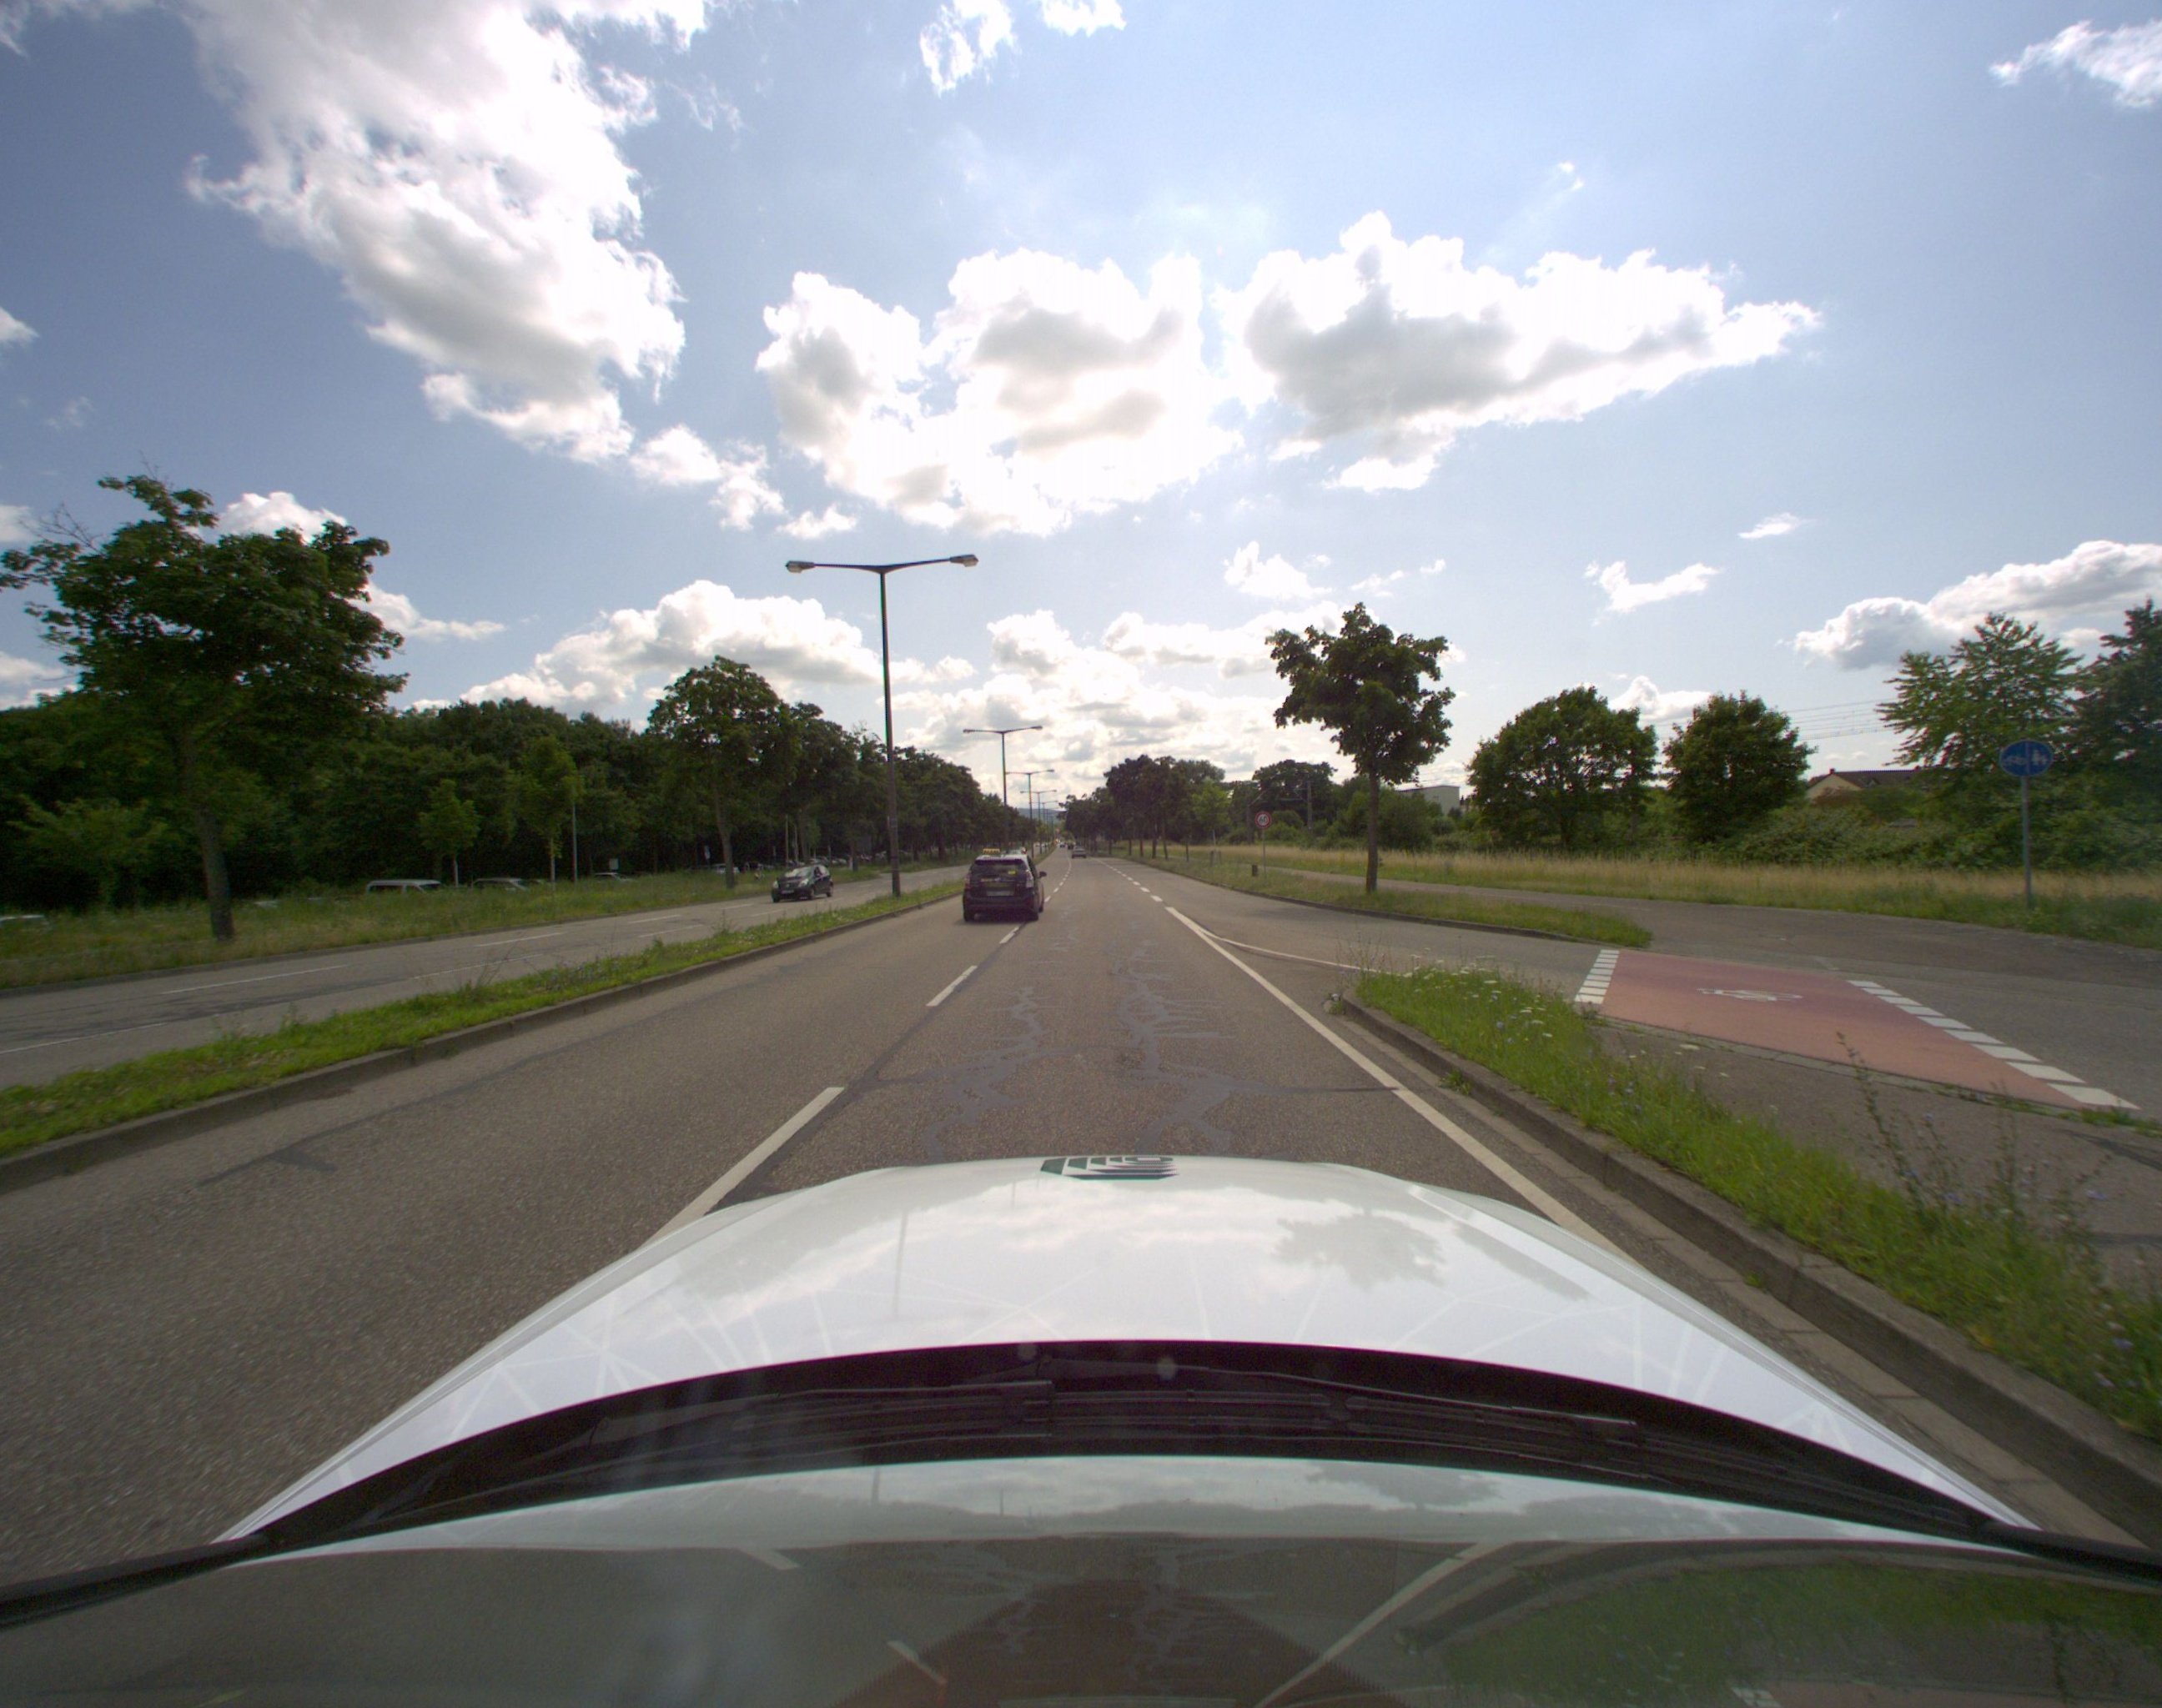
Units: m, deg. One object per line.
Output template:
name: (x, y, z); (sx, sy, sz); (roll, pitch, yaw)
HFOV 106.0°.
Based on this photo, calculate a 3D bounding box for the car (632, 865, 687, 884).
car: (-36.506, 1.733, 70.520); (3.771, 1.508, 1.786); (-1, 1, 1)

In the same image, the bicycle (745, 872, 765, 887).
bicycle: (-22.688, 1.756, 56.743); (0.565, 0.978, 1.917); (-2, 0, 0)

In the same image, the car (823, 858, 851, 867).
car: (-38.436, 1.297, 128.426); (3.769, 1.387, 1.787); (-1, 1, 3)

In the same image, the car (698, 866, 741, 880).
car: (-38.489, 2.041, 86.755); (3.774, 1.428, 1.785); (-1, 1, -1)

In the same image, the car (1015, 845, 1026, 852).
car: (-13.054, -1.178, 174.775); (1.871, 1.508, 3.801); (-1, 1, 3)

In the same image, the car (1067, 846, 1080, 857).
car: (-1.174, -0.441, 131.110); (1.987, 1.661, 4.000); (-1, 1, 0)

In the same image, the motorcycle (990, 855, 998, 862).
motorcycle: (-11.265, 0.549, 105.241); (0.749, 0.772, 2.671); (-1, 1, 0)

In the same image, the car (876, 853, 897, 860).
car: (-39.723, 0.495, 166.367); (3.769, 1.387, 1.787); (-1, 1, 3)

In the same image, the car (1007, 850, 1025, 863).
car: (-8.125, 0.320, 102.348); (1.805, 1.398, 4.733); (-2, 1, 0)

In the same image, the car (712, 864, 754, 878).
car: (-38.331, 1.895, 89.805); (3.774, 1.386, 1.785); (-1, 1, -1)

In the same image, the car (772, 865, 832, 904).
car: (-11.538, 1.216, 33.906); (1.700, 1.427, 3.663); (-2, 0, -9)

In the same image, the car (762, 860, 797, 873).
car: (-38.697, 1.655, 104.604); (3.769, 1.568, 1.787); (-1, 1, 3)

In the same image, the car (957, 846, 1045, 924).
car: (-1.879, 0.677, 20.289); (1.774, 1.683, 4.000); (-1, 1, 0)

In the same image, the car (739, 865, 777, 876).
car: (-38.510, 1.965, 97.047); (3.774, 1.247, 1.785); (-1, 1, -1)

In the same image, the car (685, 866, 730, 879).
car: (-38.596, 1.913, 84.255); (3.771, 1.247, 1.786); (-1, 1, 1)

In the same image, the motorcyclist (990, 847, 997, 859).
motorcyclist: (-11.270, -0.137, 105.088); (0.824, 1.414, 1.328); (-1, 1, 0)

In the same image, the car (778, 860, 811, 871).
car: (-38.754, 1.568, 110.276); (3.769, 1.387, 1.787); (-1, 1, 3)

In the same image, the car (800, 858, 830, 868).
car: (-39.217, 1.281, 119.973); (3.769, 1.387, 1.787); (-1, 1, 3)

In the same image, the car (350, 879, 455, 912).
car: (-37.384, 2.280, 44.941); (3.977, 1.625, 1.998); (-1, 1, -3)

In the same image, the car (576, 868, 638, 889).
car: (-36.795, 1.863, 63.275); (3.771, 1.508, 1.786); (-1, 1, 1)

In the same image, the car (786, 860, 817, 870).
car: (-38.992, 1.551, 113.648); (3.769, 1.387, 1.787); (-1, 1, 3)

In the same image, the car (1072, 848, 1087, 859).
car: (-0.178, -0.124, 114.817); (1.988, 1.508, 3.997); (-1, 1, -2)
